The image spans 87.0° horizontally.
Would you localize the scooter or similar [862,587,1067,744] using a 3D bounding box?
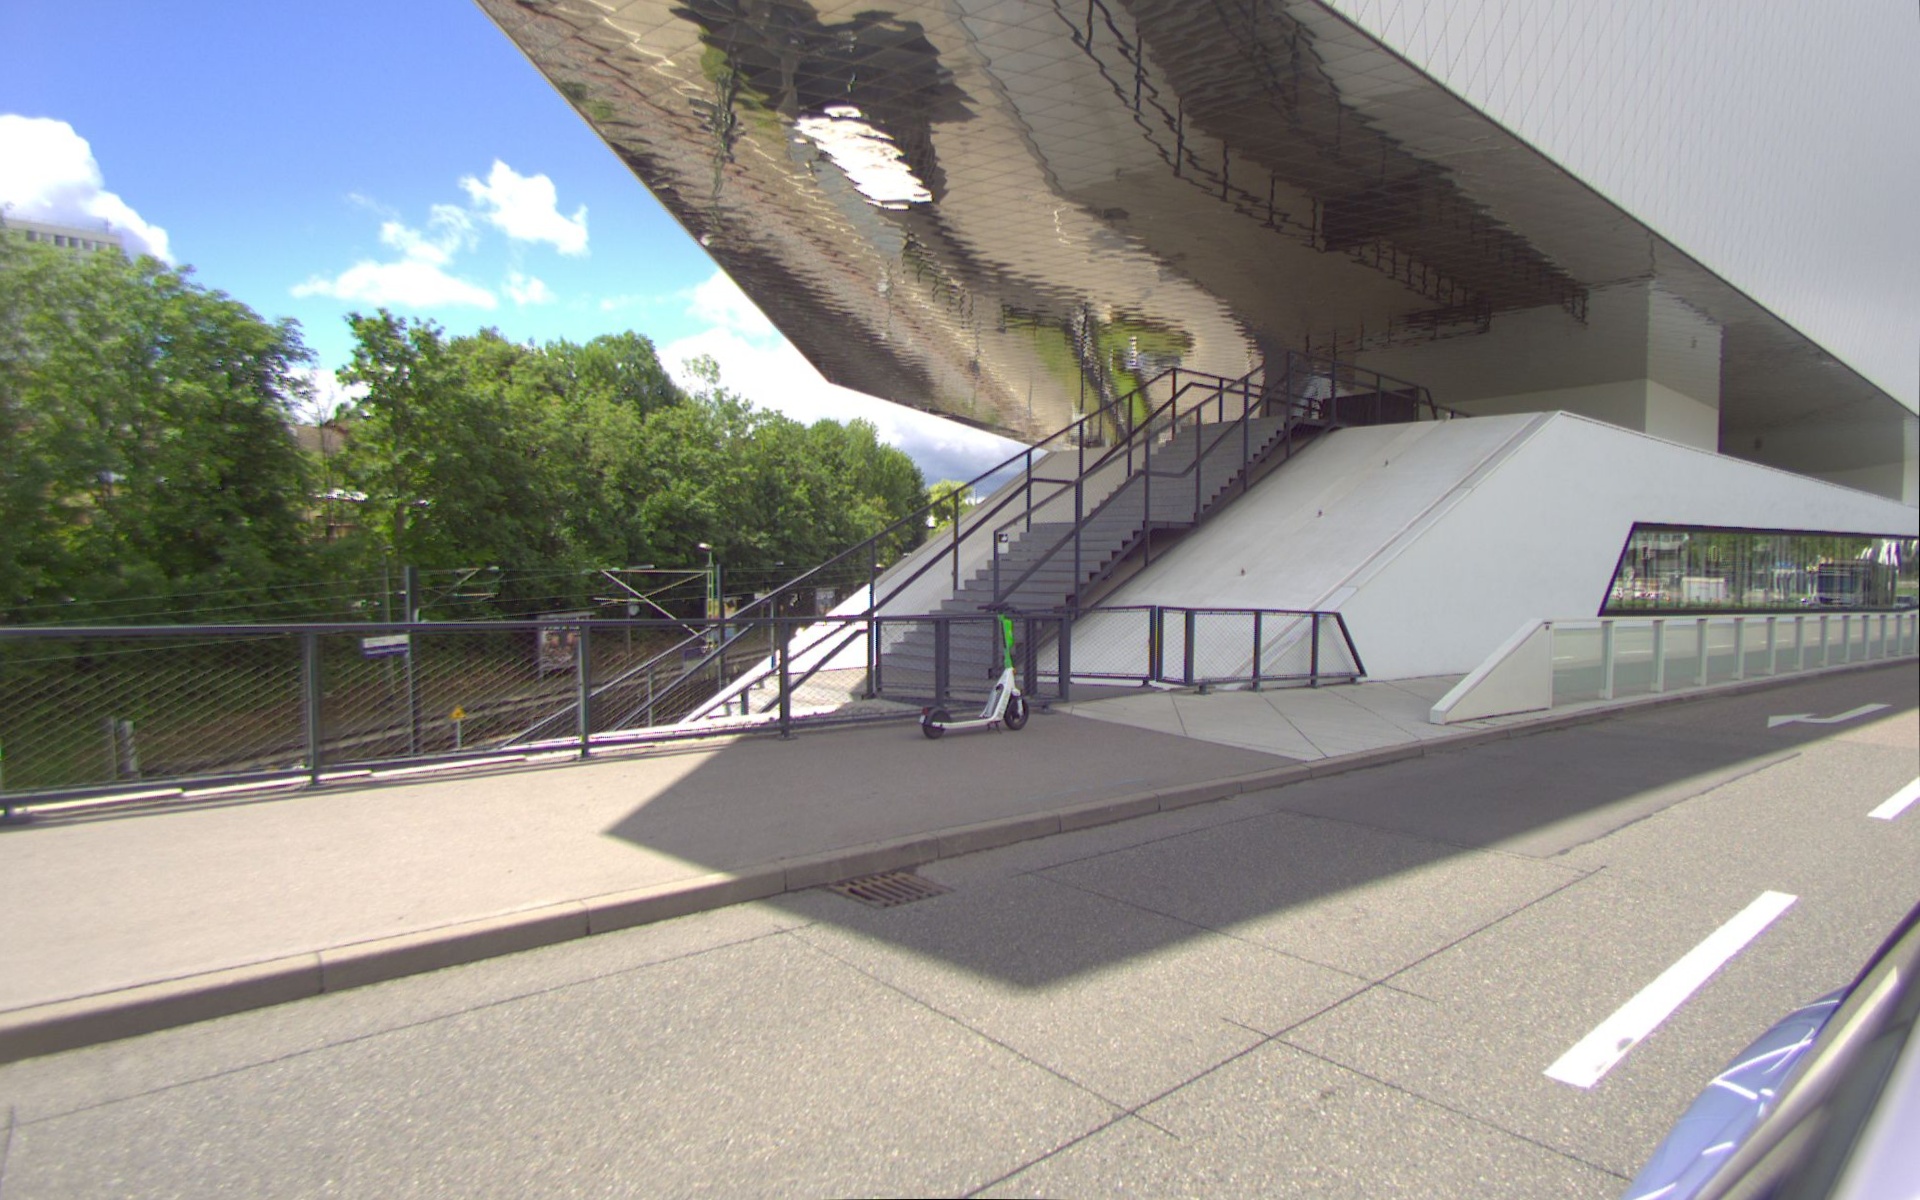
[{"bbox_3d":[0.073,0.514,8.949,1.825,1.229,0.654,-1,3,-41],"label":"scooter or similar"}]
